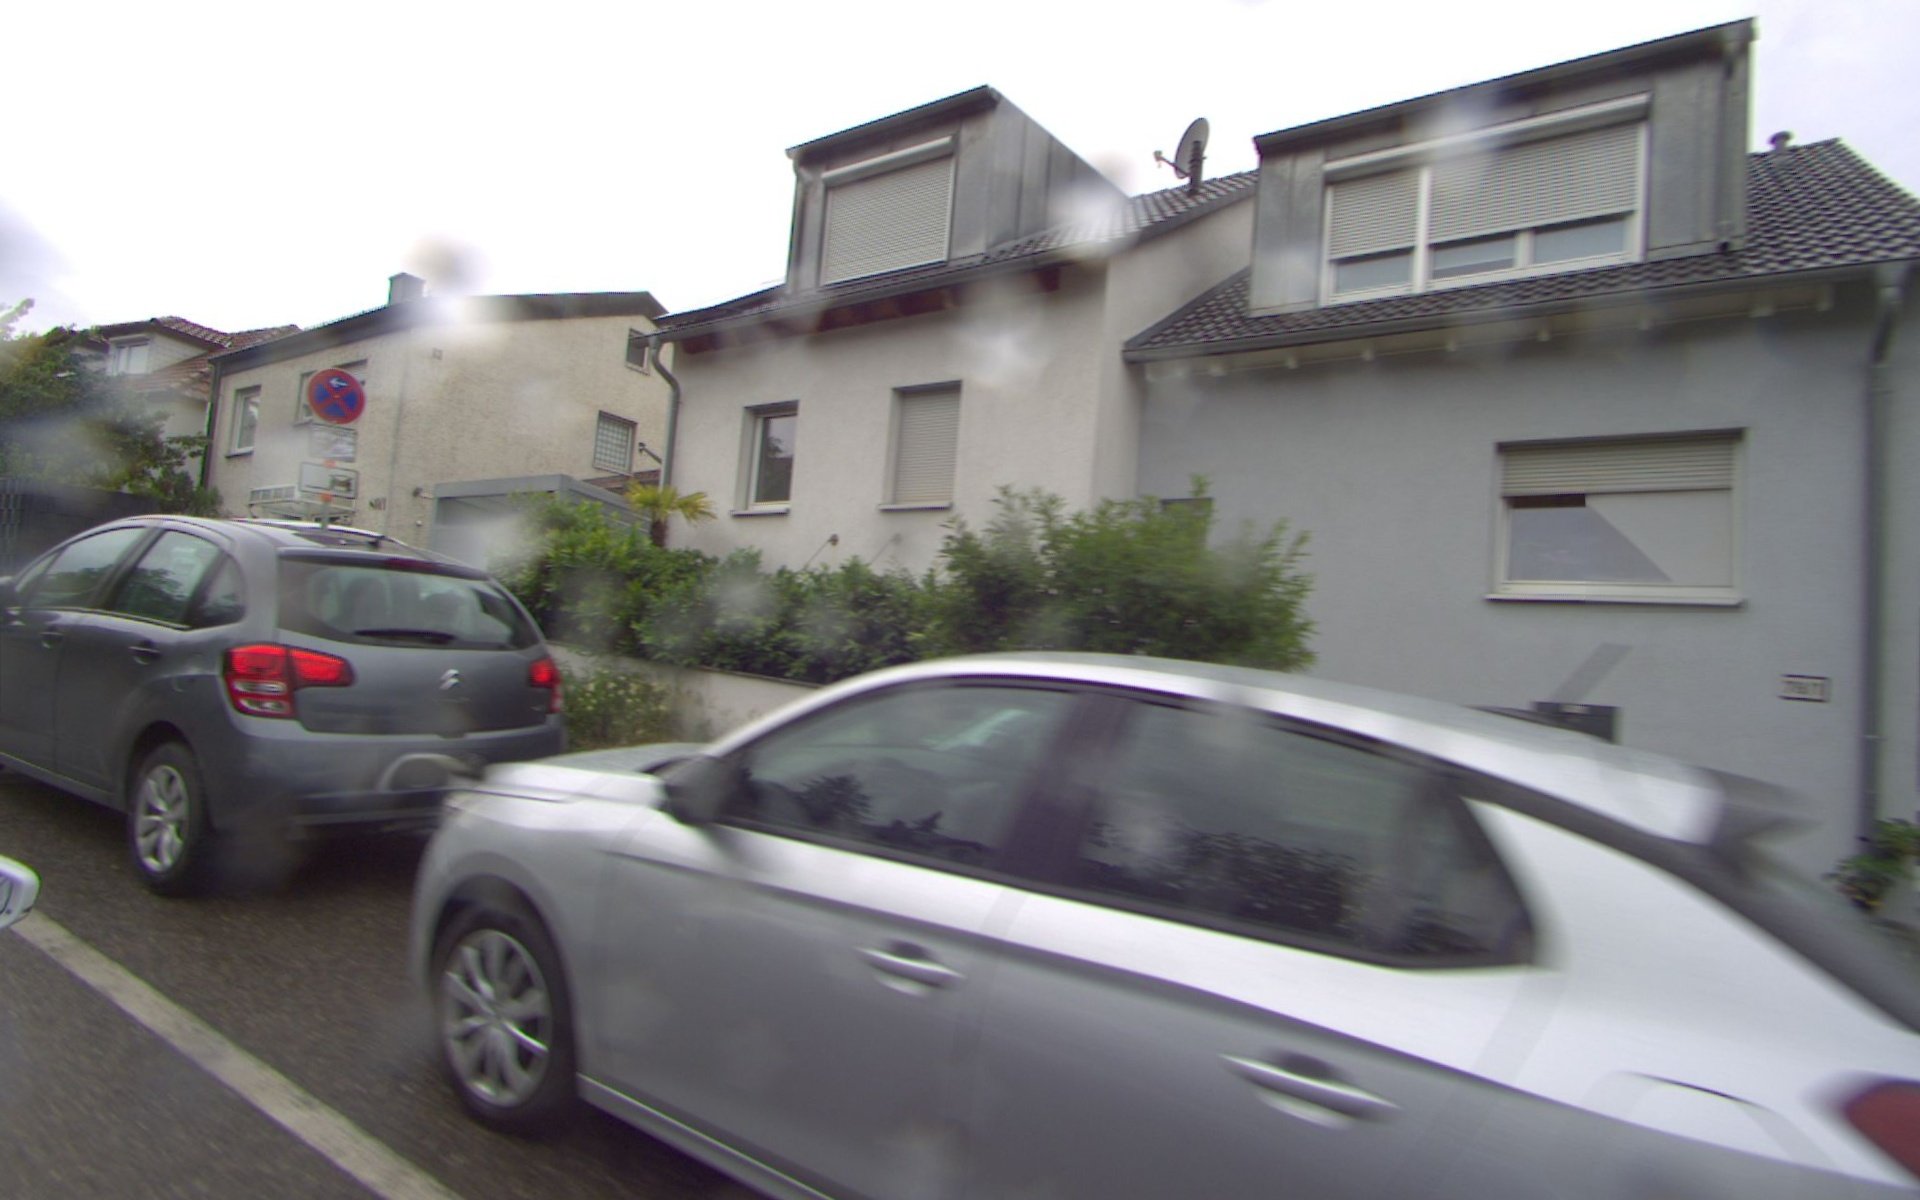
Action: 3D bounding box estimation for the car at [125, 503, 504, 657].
[{"bbox_3d":[-8.959,-0.193,14.308,1.904,1.607,3.995,5,-4,32],"label":"car"}]

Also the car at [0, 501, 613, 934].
[{"bbox_3d":[-3.839,0.364,5.311,3.699,1.485,1.662,6,0,30],"label":"car"}]

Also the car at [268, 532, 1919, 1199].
[{"bbox_3d":[0.144,0.776,2.792,4.164,1.485,1.770,6,0,31],"label":"car"}]
